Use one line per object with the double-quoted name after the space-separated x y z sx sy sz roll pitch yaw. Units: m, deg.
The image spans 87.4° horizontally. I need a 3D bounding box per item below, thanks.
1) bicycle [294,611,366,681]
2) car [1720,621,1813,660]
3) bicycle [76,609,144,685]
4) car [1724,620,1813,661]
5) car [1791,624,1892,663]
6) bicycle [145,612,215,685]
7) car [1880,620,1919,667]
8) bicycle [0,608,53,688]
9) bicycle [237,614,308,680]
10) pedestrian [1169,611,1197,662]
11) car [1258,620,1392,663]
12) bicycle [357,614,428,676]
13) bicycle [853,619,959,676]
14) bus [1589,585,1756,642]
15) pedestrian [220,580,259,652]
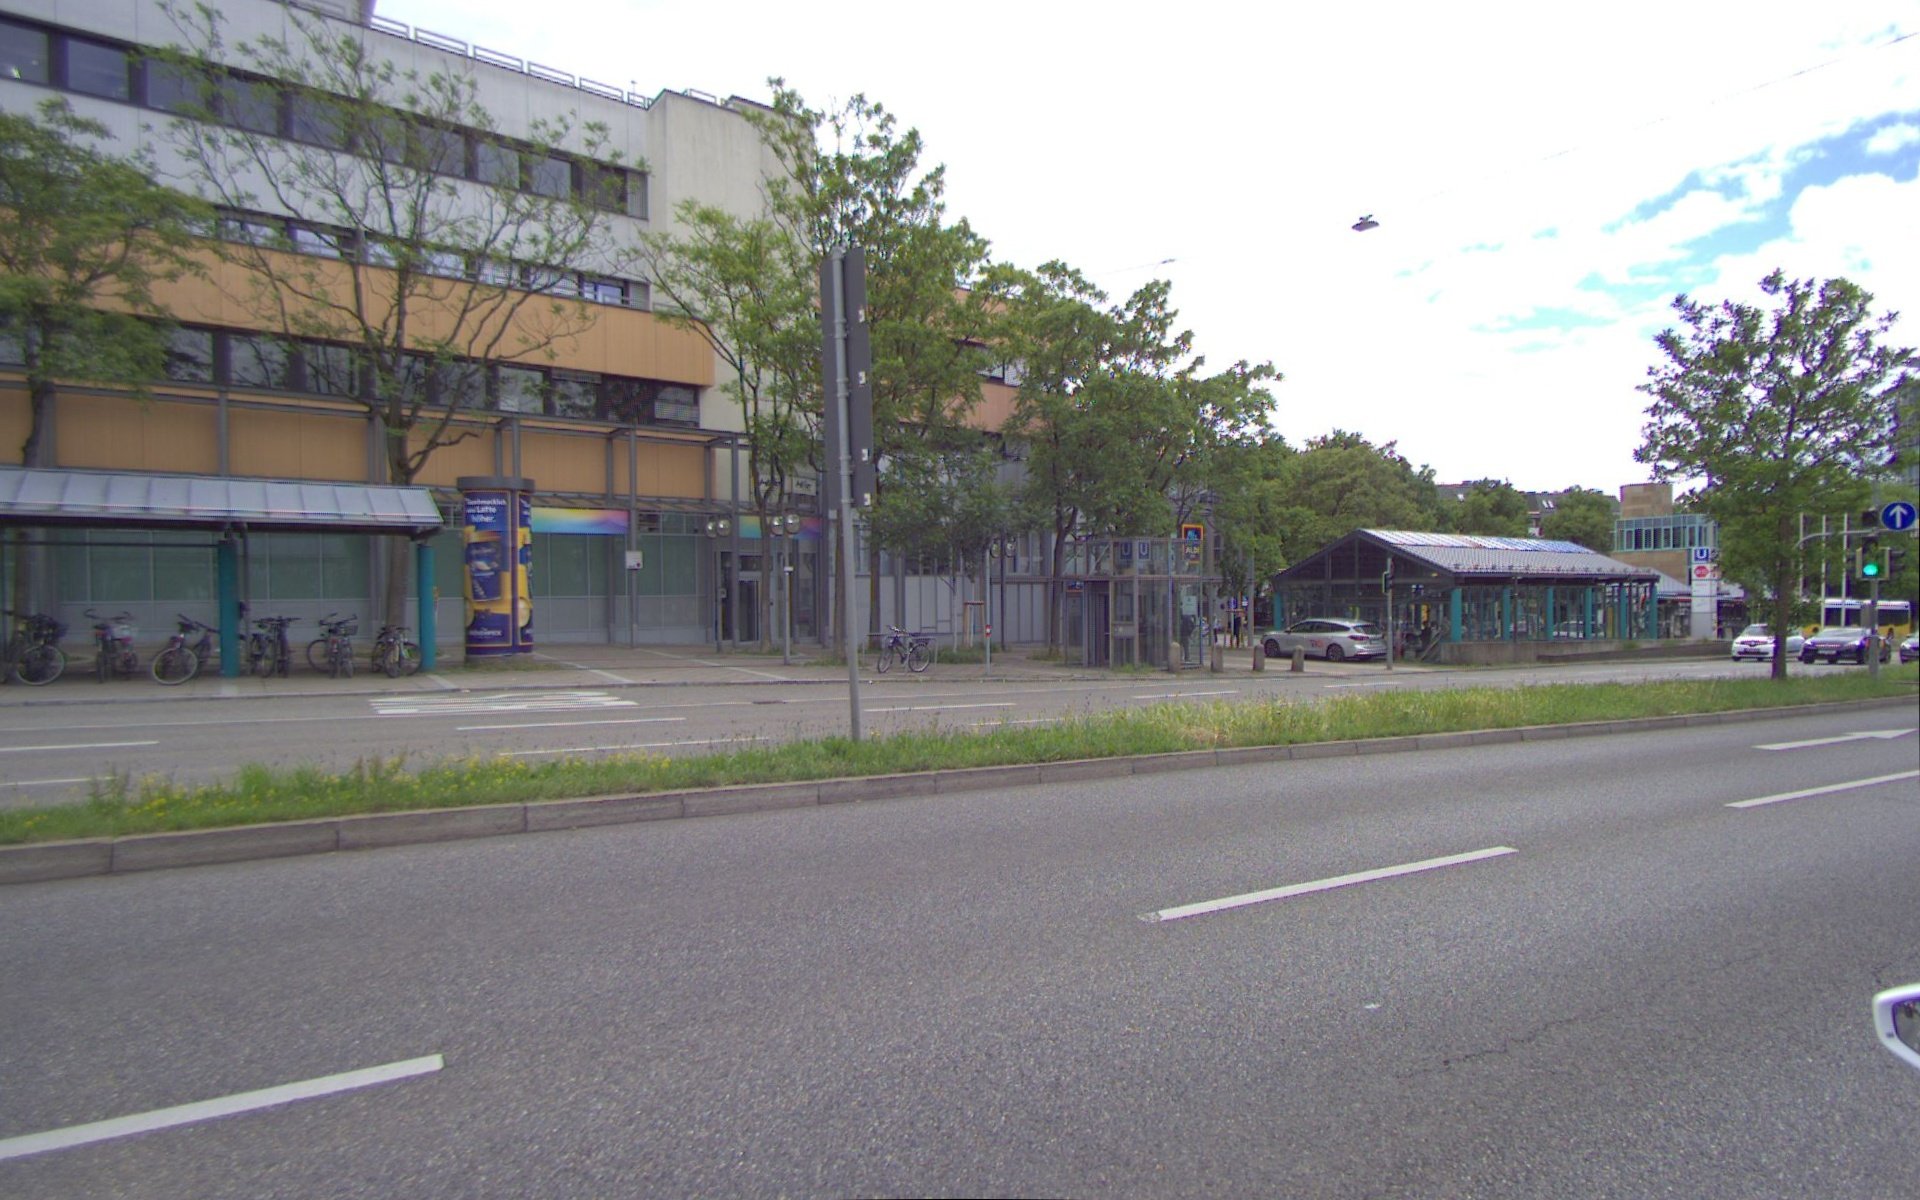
-12.362 0.862 19.680 2.043 1.169 0.707 5 3 44 "bicycle"
33.557 1.662 41.774 3.954 1.538 1.739 1 0 -31 "car"
-15.010 0.800 17.715 2.043 1.169 0.707 3 2 44 "bicycle"
33.612 1.655 41.731 3.953 1.595 1.616 1 -1 -30 "car"
33.762 1.639 38.433 4.961 1.416 1.802 1 -2 -35 "car"
-13.956 0.836 17.954 2.043 1.169 0.707 2 1 44 "bicycle"
34.578 1.515 35.543 4.468 1.595 1.982 1 -1 -33 "car"
-15.792 0.773 16.869 2.043 1.169 0.707 4 2 44 "bicycle"
-13.091 0.858 19.104 2.043 1.169 0.707 0 -1 44 "bicycle"
6.675 1.088 30.063 0.592 1.477 0.869 2 1 25 "pedestrian"
12.728 1.408 35.188 1.985 1.372 3.951 1 -1 -42 "car"
-11.584 0.889 20.464 2.043 1.169 0.707 1 0 44 "bicycle"
-1.323 1.133 24.736 2.400 1.288 1.045 1 2 -35 "bicycle"
43.179 0.860 60.710 12.001 3.175 2.946 1 0 -27 "bus"
-16.974 0.376 23.671 0.667 1.665 0.529 1 -1 -30 "pedestrian"
